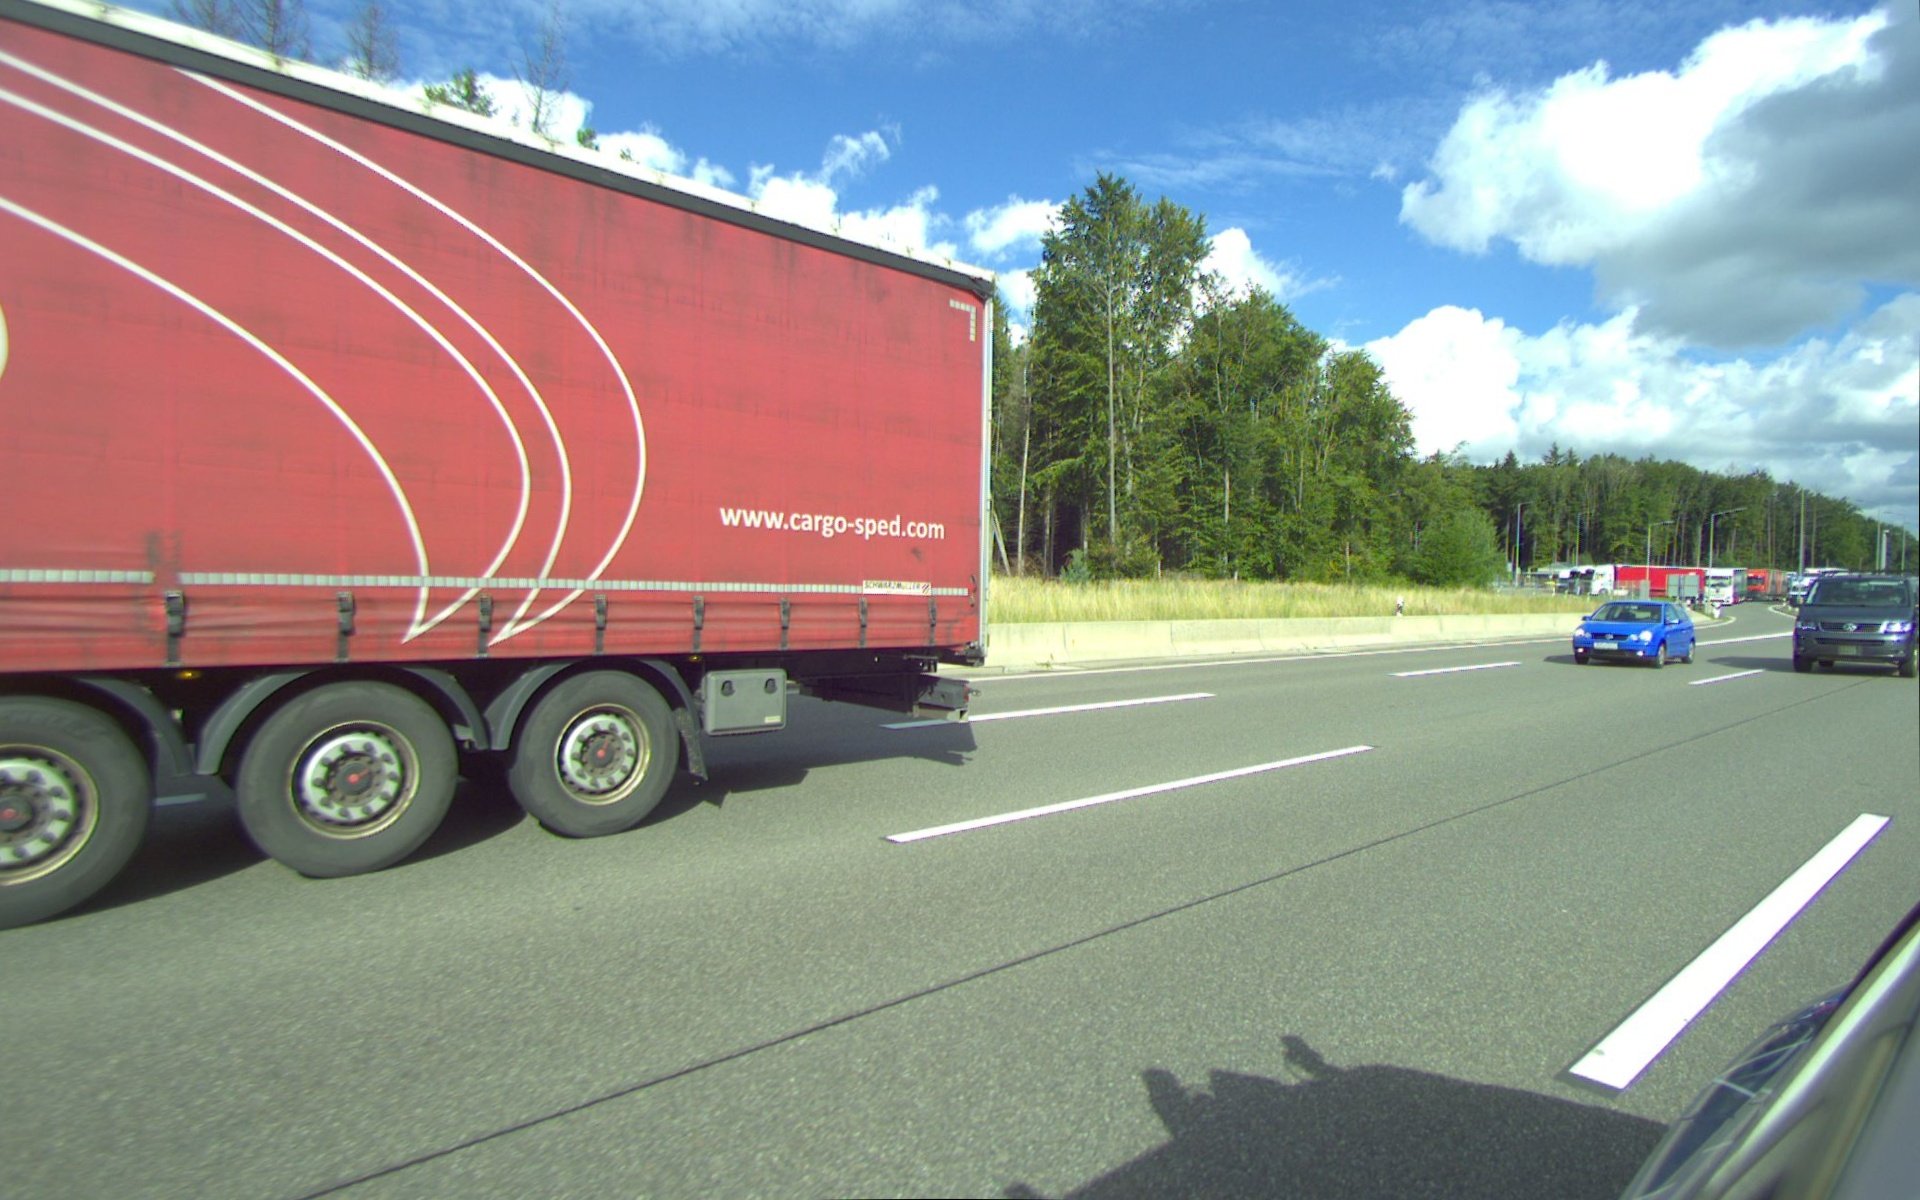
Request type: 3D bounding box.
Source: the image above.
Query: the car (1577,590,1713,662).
[{"bbox_3d":[15.367,0.517,22.633,3.932,1.460,1.652,0,1,-43],"label":"car"}]

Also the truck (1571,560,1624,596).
[{"bbox_3d":[83.121,-2.912,132.042,5.031,4.564,2.894,1,1,5],"label":"truck"}]

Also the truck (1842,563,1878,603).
[{"bbox_3d":[117.711,-2.228,132.311,7.137,4.986,2.659,0,2,-42],"label":"truck"}]

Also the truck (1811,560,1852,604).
[{"bbox_3d":[101.790,-2.088,118.125,6.865,4.986,2.659,0,2,-42],"label":"truck"}]

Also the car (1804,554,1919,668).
[{"bbox_3d":[19.278,0.201,21.136,4.847,2.136,1.852,0,0,-42],"label":"car"}]

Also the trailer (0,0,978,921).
[{"bbox_3d":[-5.854,-0.745,4.340,13.473,4.096,2.779,0,1,-41],"label":"trailer"}]

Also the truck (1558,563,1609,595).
[{"bbox_3d":[83.303,-2.810,135.229,5.080,4.169,2.569,1,1,5],"label":"truck"}]

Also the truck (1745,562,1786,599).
[{"bbox_3d":[101.153,-2.412,127.016,6.915,4.563,2.876,0,1,-42],"label":"truck"}]

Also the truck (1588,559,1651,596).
[{"bbox_3d":[83.479,-2.820,128.151,5.990,4.563,2.877,1,0,5],"label":"truck"}]

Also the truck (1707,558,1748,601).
[{"bbox_3d":[83.839,-2.248,110.556,2.870,4.562,7.068,2,2,42],"label":"truck"}]

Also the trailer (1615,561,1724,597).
[{"bbox_3d":[89.338,-2.685,127.570,11.185,4.429,2.841,1,0,6],"label":"trailer"}]
